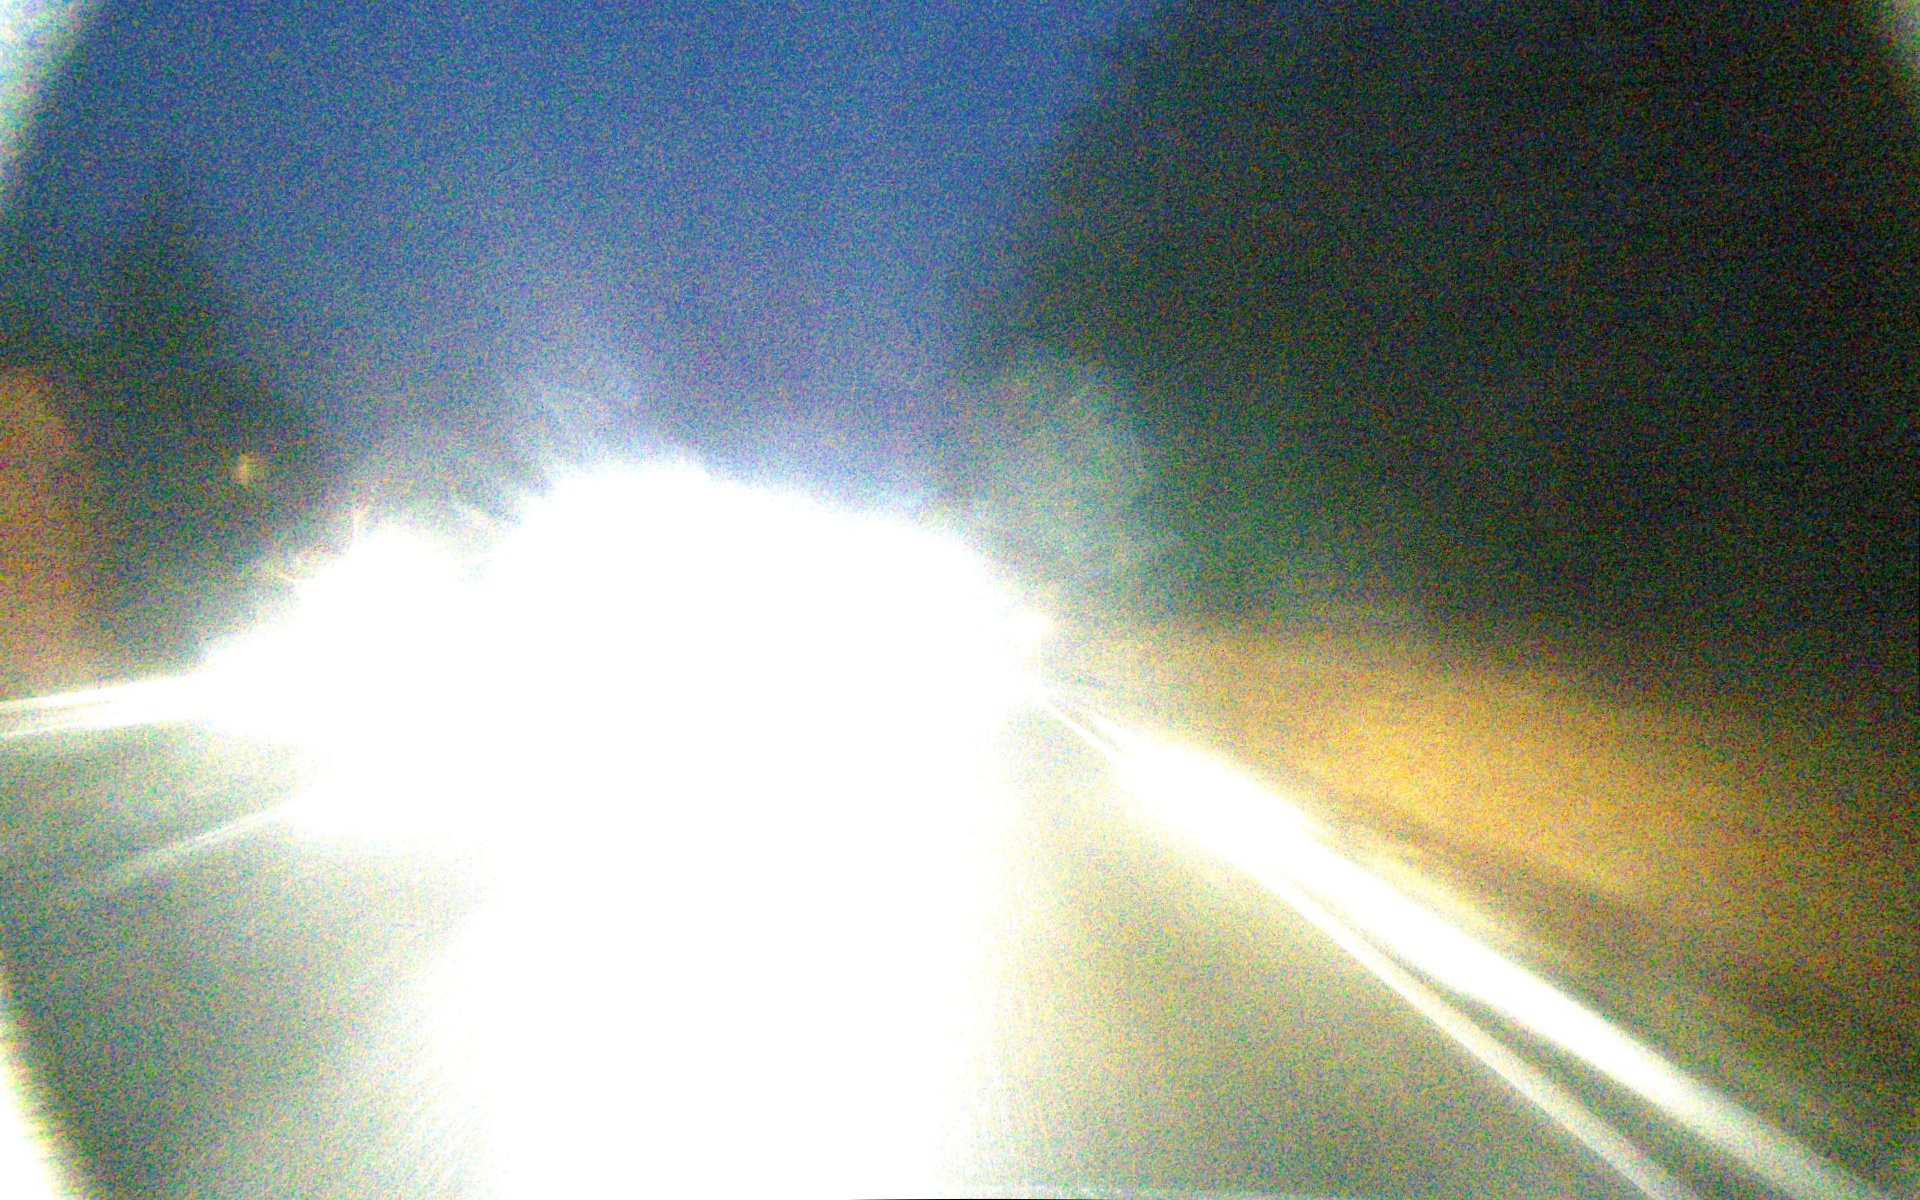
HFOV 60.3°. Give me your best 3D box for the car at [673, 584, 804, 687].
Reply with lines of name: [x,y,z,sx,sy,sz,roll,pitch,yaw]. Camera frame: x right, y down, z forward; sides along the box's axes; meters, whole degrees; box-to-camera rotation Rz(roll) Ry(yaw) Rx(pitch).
car: [-3.689,0.561,28.121,1.792,1.595,3.778,1,0,-2]
